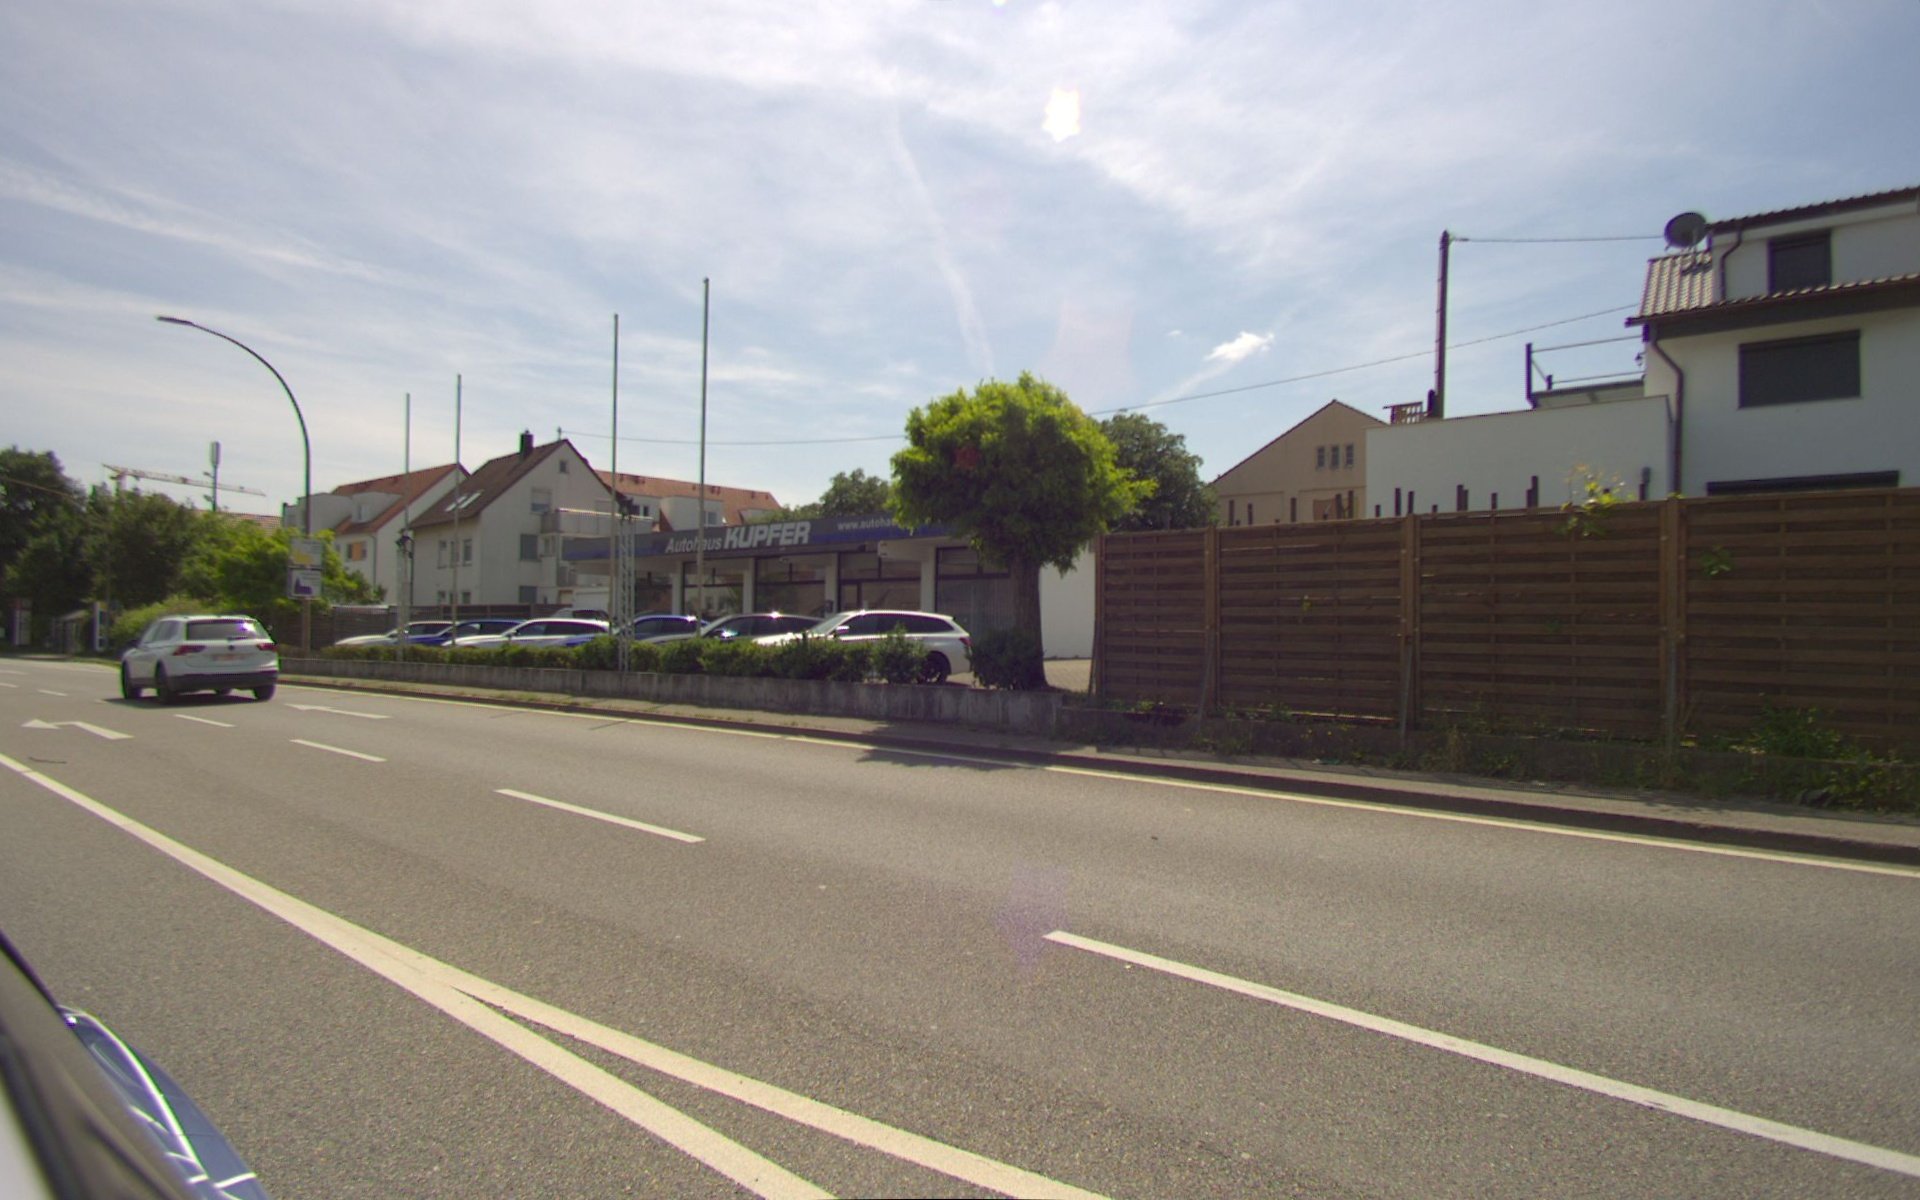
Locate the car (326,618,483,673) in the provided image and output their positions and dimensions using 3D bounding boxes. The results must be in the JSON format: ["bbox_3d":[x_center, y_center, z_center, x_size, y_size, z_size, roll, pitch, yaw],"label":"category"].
[{"bbox_3d":[-17.530,1.398,32.199,4.192,1.541,2.007,-1,-1,-23],"label":"car"}]

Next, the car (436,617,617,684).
[{"bbox_3d":[-11.357,1.275,26.713,4.239,1.530,2.006,-1,-1,-22],"label":"car"}]

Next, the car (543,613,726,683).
[{"bbox_3d":[-7.765,1.098,24.123,3.931,1.453,1.860,-1,-1,-25],"label":"car"}]

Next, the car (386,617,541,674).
[{"bbox_3d":[-14.428,1.297,29.644,3.931,1.475,2.007,-1,-1,-23],"label":"car"}]

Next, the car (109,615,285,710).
[{"bbox_3d":[-15.340,1.193,20.263,4.399,1.668,1.827,-2,-1,39],"label":"car"}]

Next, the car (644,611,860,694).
[{"bbox_3d":[-4.465,1.068,21.769,4.187,1.557,1.856,-1,-1,-27],"label":"car"}]

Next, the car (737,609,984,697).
[{"bbox_3d":[-1.881,0.942,19.223,4.264,1.471,1.861,-1,-1,-25],"label":"car"}]
